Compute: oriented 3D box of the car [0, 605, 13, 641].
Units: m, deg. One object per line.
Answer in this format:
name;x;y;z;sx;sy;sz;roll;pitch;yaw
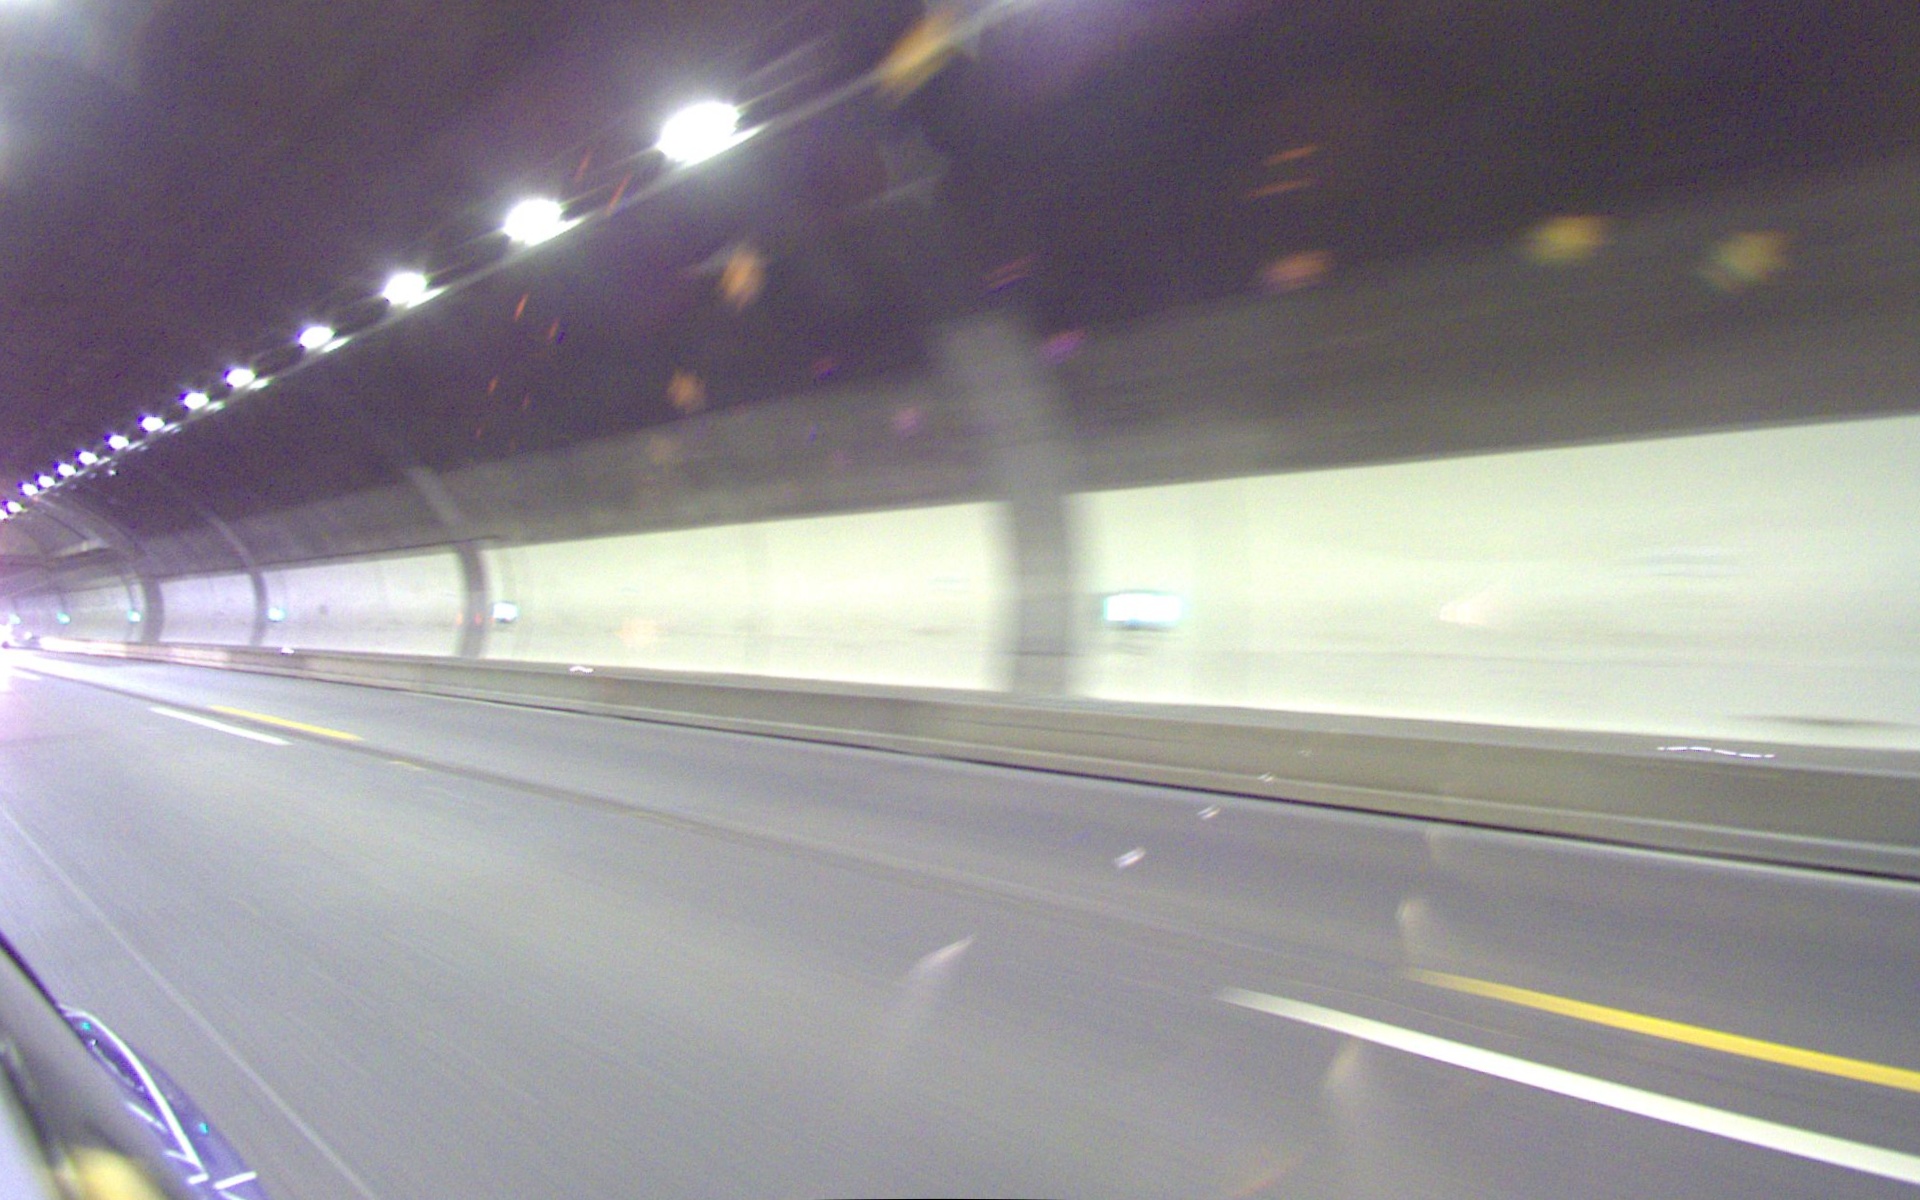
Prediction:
car;-44.391;1.038;45.602;4.848;1.552;1.973;-1;-3;41
